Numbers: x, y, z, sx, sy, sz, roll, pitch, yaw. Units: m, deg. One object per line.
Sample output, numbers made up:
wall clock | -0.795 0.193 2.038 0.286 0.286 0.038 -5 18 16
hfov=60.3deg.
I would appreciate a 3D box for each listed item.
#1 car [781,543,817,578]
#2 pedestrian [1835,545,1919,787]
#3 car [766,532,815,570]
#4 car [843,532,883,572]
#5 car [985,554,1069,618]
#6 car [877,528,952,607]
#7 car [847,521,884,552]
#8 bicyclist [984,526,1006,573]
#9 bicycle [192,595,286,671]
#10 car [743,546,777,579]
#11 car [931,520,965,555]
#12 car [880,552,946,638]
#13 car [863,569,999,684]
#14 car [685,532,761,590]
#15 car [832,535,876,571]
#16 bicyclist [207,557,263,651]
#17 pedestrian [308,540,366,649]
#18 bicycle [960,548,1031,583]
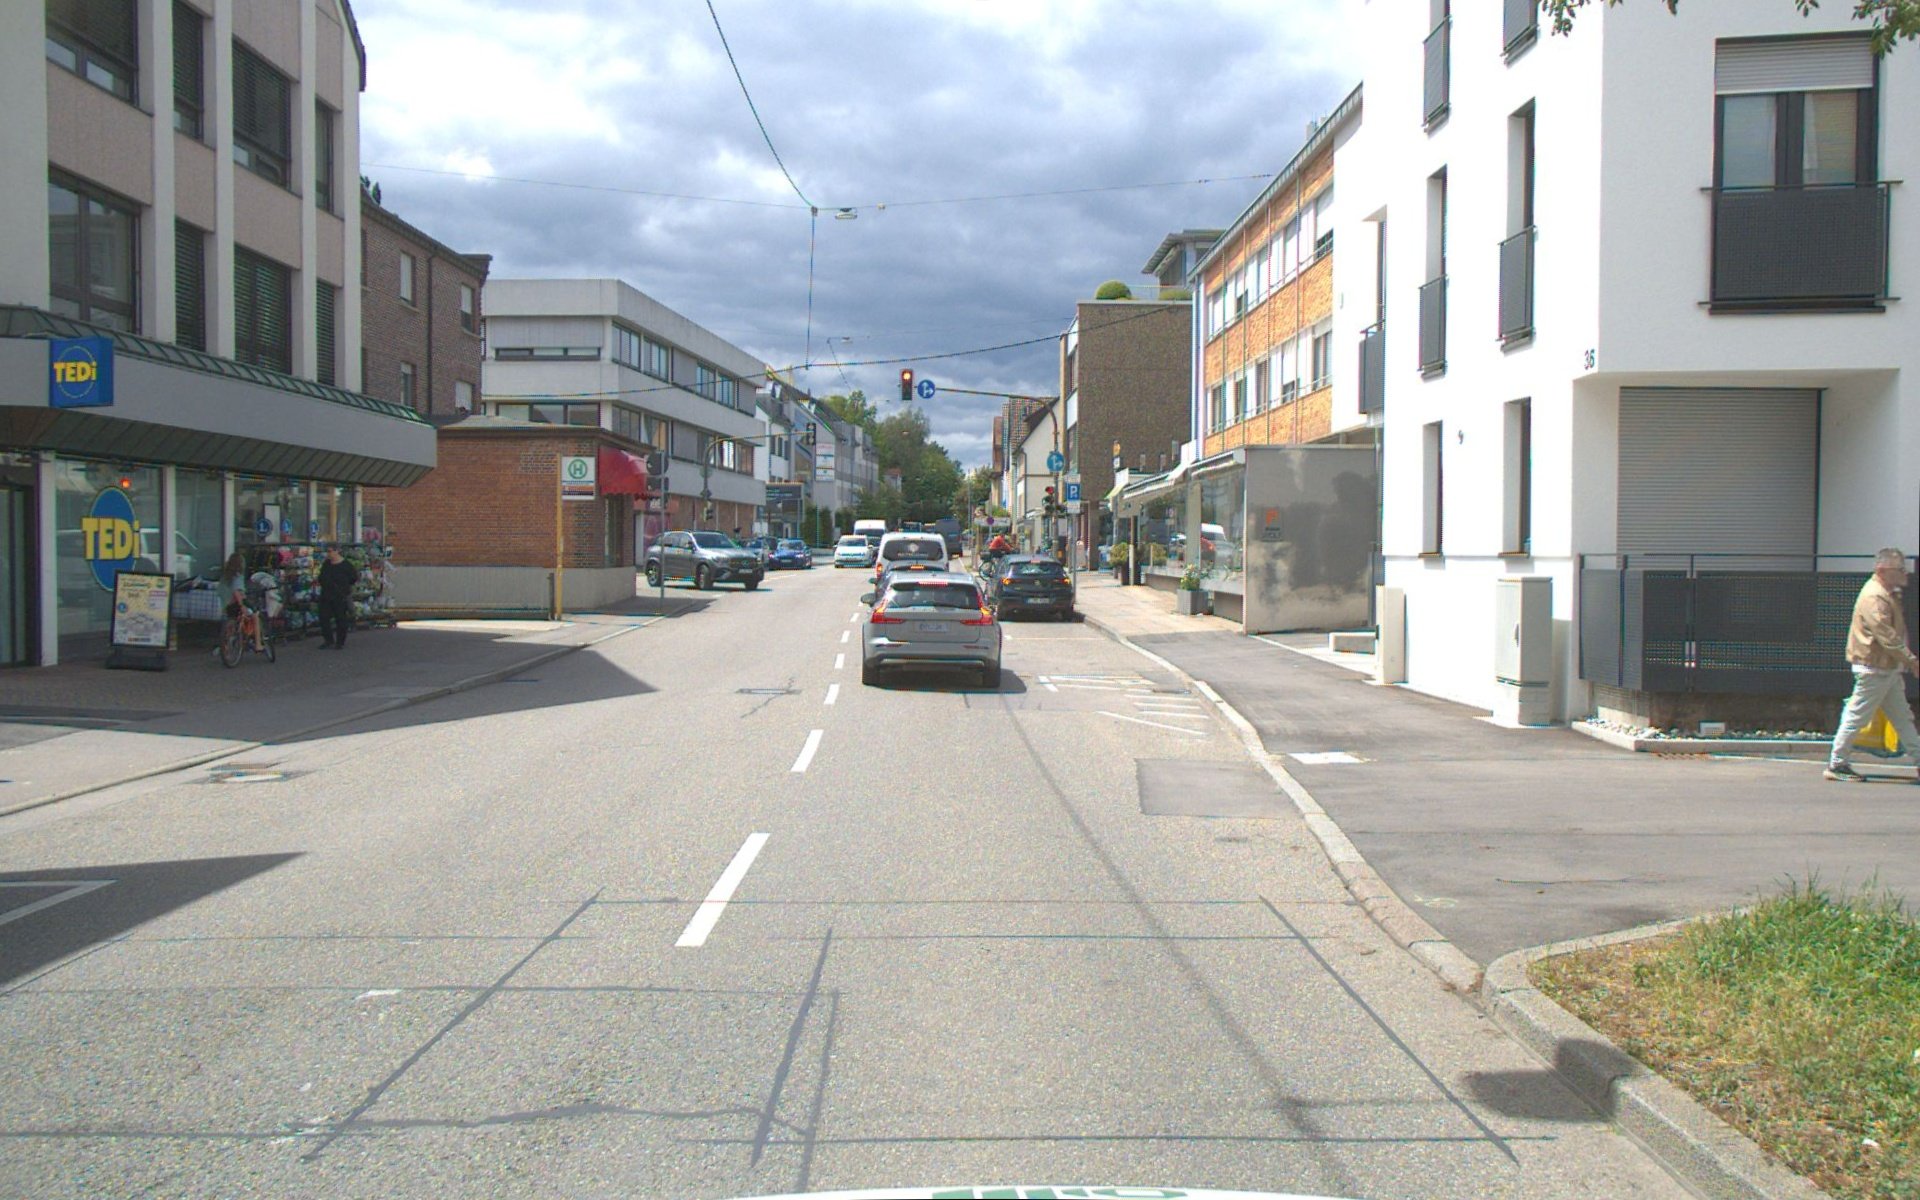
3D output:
car | -10.309 -2.503 106.290 1.953 2.049 3.999 2 0 -2
pedestrian | 6.656 0.457 11.896 0.602 1.676 0.738 -1 0 27
car | -8.302 -2.393 81.233 1.834 1.668 4.001 2 0 1
car | -5.349 -2.618 91.407 1.953 2.049 3.999 2 0 -1
car | 1.500 -0.313 38.467 1.717 1.395 3.999 0 0 -1
car | -1.136 -0.799 42.167 1.799 1.894 3.850 1 0 -1
car | -5.660 -3.829 99.510 1.834 1.669 4.001 0 -1 1
bicyclist | 1.245 -1.774 58.617 0.756 1.634 0.580 1 -1 -1
bicycle | -9.382 0.409 21.580 0.457 0.876 1.777 2 2 -1
car | -10.407 -1.931 86.217 1.356 1.568 3.398 0 -1 -1
car | -0.909 -4.588 122.638 2.387 2.359 5.325 2 0 -1
car | -0.928 -0.135 32.789 1.248 1.553 3.050 0 3 -1
car | -0.390 0.322 22.702 1.708 1.441 3.999 0 0 -1
car | -7.530 -1.201 52.227 1.810 1.756 4.332 0 0 -16
car | -5.399 -2.381 84.942 1.834 1.668 4.001 2 0 1
bicyclist | -9.389 0.055 21.429 0.448 1.199 0.624 0 0 -1
pedestrian | -9.470 -0.085 25.137 0.615 1.630 0.563 1 0 5
bicycle | 1.242 -1.229 58.600 2.472 1.194 0.585 1 0 -1
